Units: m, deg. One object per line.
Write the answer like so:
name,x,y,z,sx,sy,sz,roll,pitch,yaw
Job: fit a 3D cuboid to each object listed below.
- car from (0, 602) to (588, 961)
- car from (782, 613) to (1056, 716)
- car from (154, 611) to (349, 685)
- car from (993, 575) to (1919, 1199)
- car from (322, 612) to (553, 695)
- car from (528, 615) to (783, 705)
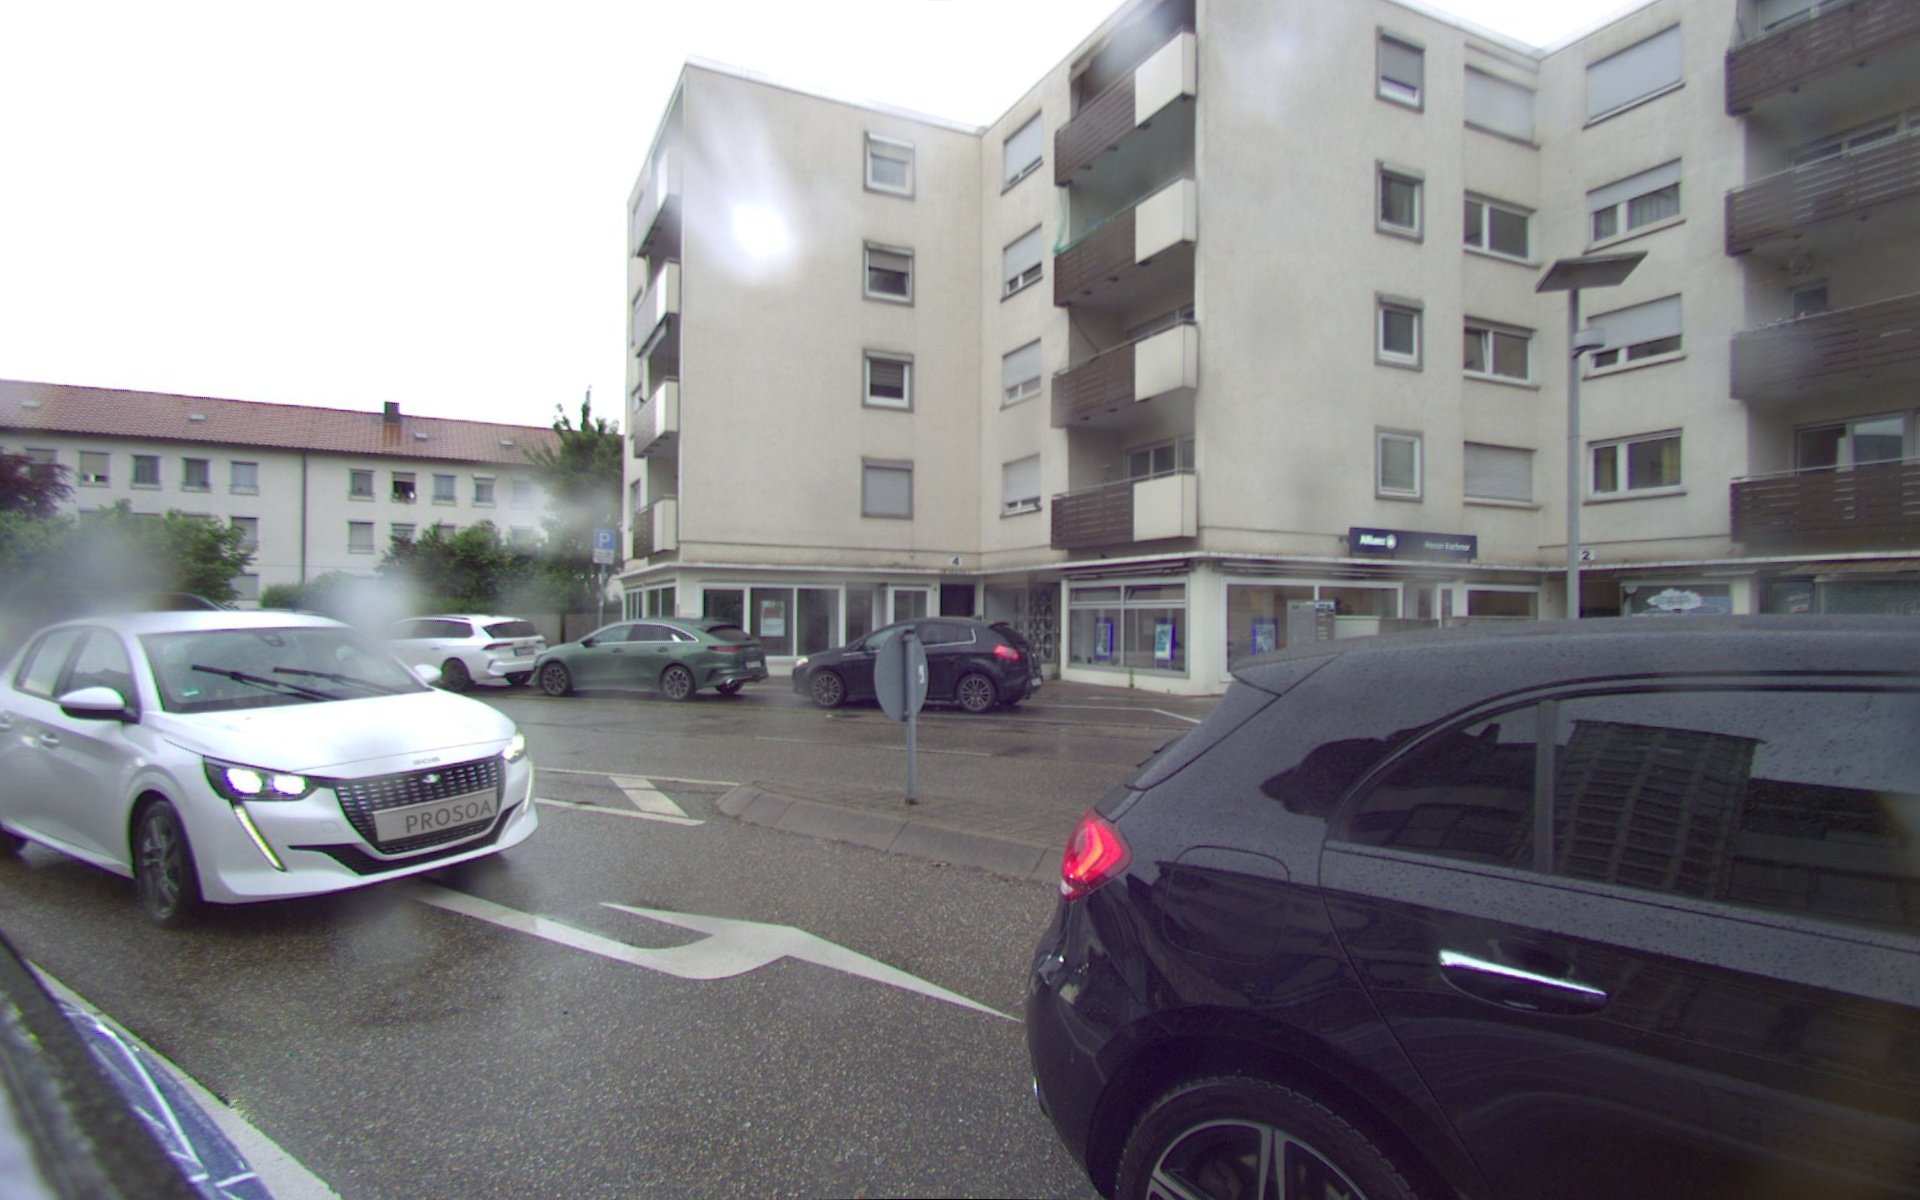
car,-4.149,0.759,5.822,3.881,1.420,1.726,-1,0,31
car,-0.656,0.978,16.639,4.156,1.471,1.825,0,0,20
car,-15.652,1.016,22.371,3.852,1.517,1.623,0,-1,20
car,2.169,0.691,1.314,4.090,1.492,1.646,-2,-1,40
car,-10.483,1.012,20.307,4.313,1.511,1.627,0,-1,20
car,-5.550,1.032,18.527,4.241,1.445,1.826,0,0,19
